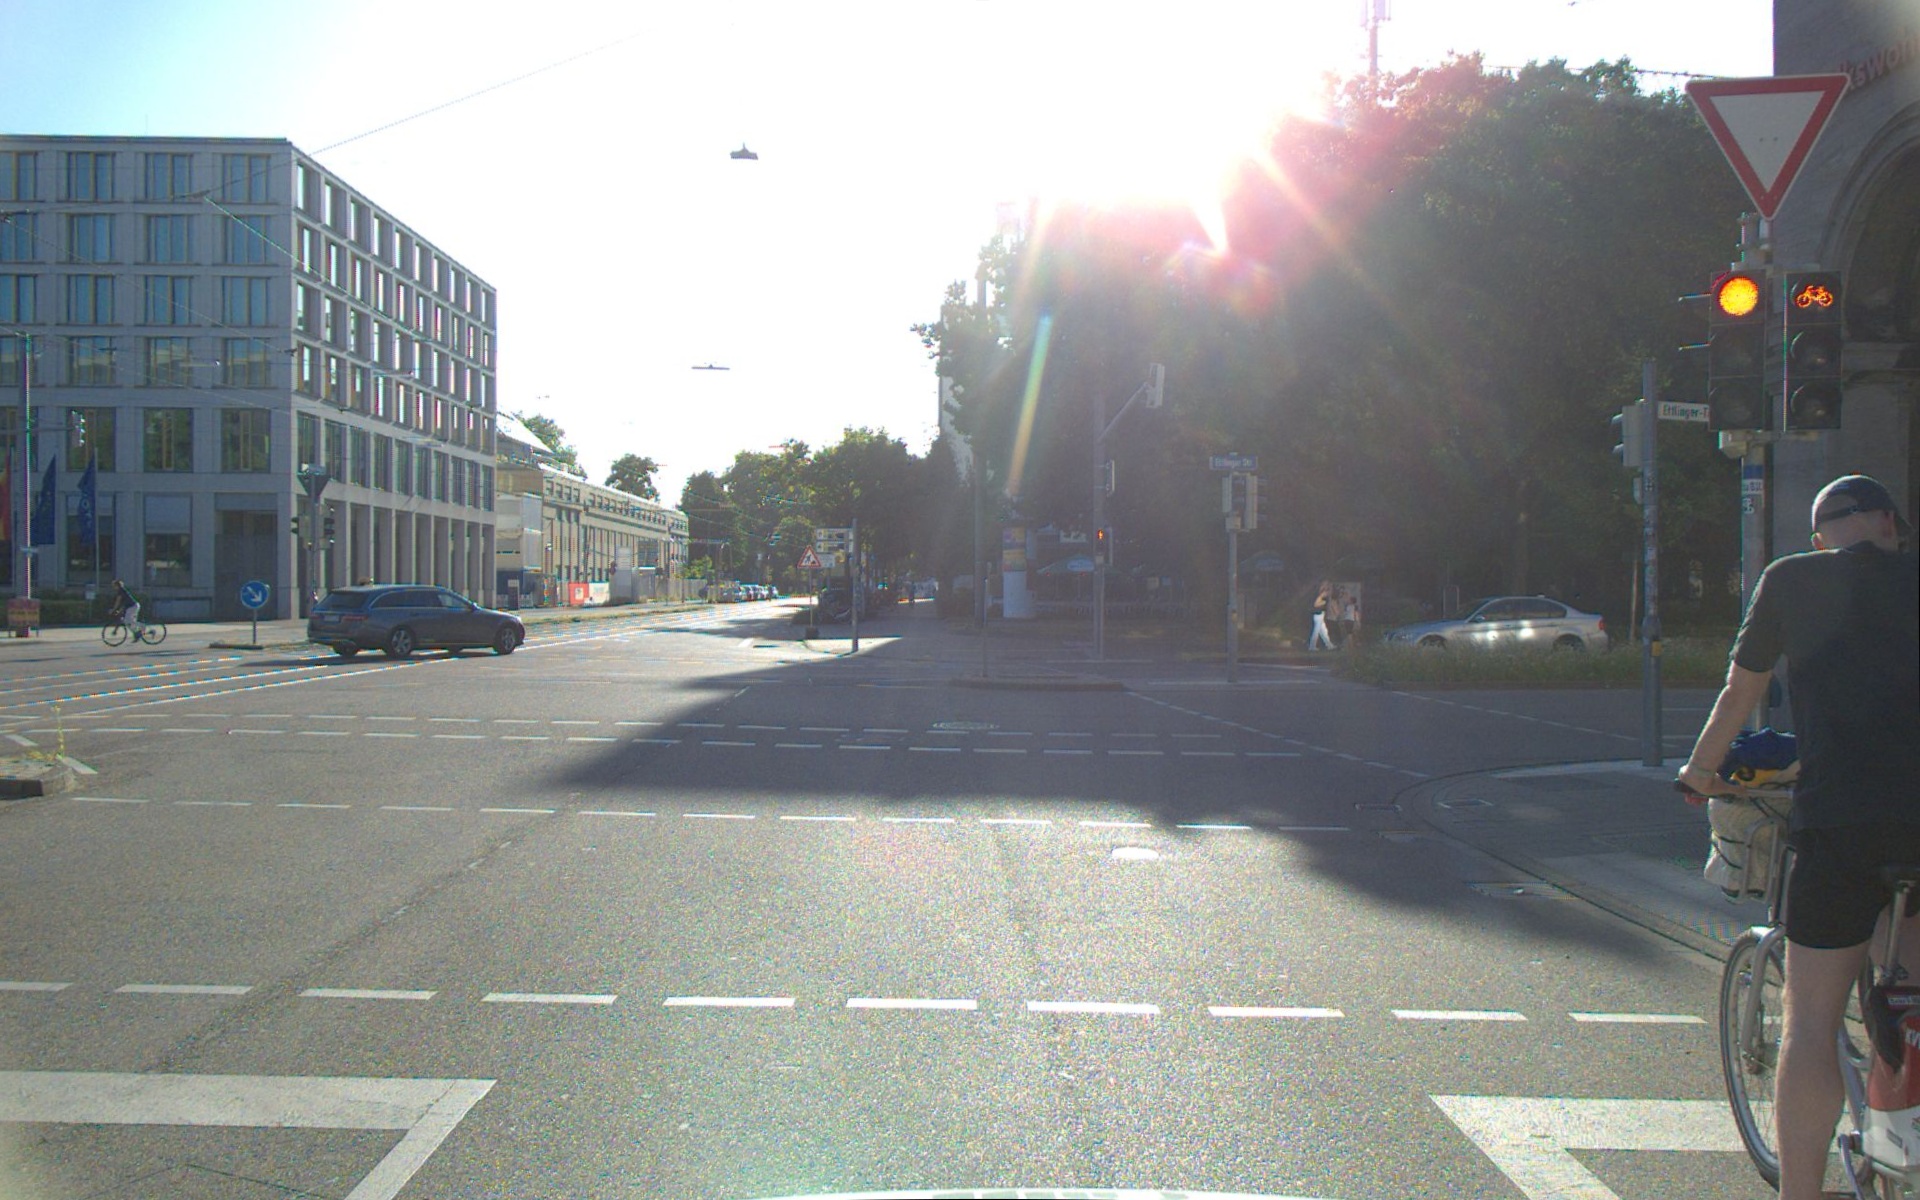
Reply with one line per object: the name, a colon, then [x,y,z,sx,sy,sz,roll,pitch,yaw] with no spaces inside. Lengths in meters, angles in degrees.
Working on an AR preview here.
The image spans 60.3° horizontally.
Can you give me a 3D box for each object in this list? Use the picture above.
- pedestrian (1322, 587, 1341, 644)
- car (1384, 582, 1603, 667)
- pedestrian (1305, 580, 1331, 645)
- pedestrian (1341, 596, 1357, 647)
pedestrian: [10.017,0.414,44.613,0.430,1.529,0.437,0,0,0]
car: [10.779,0.480,33.573,3.912,1.639,1.650,0,0,-1]
pedestrian: [9.542,0.331,44.098,0.571,1.692,0.514,1,1,1]
pedestrian: [10.291,0.559,43.747,0.310,1.339,0.345,1,1,1]
